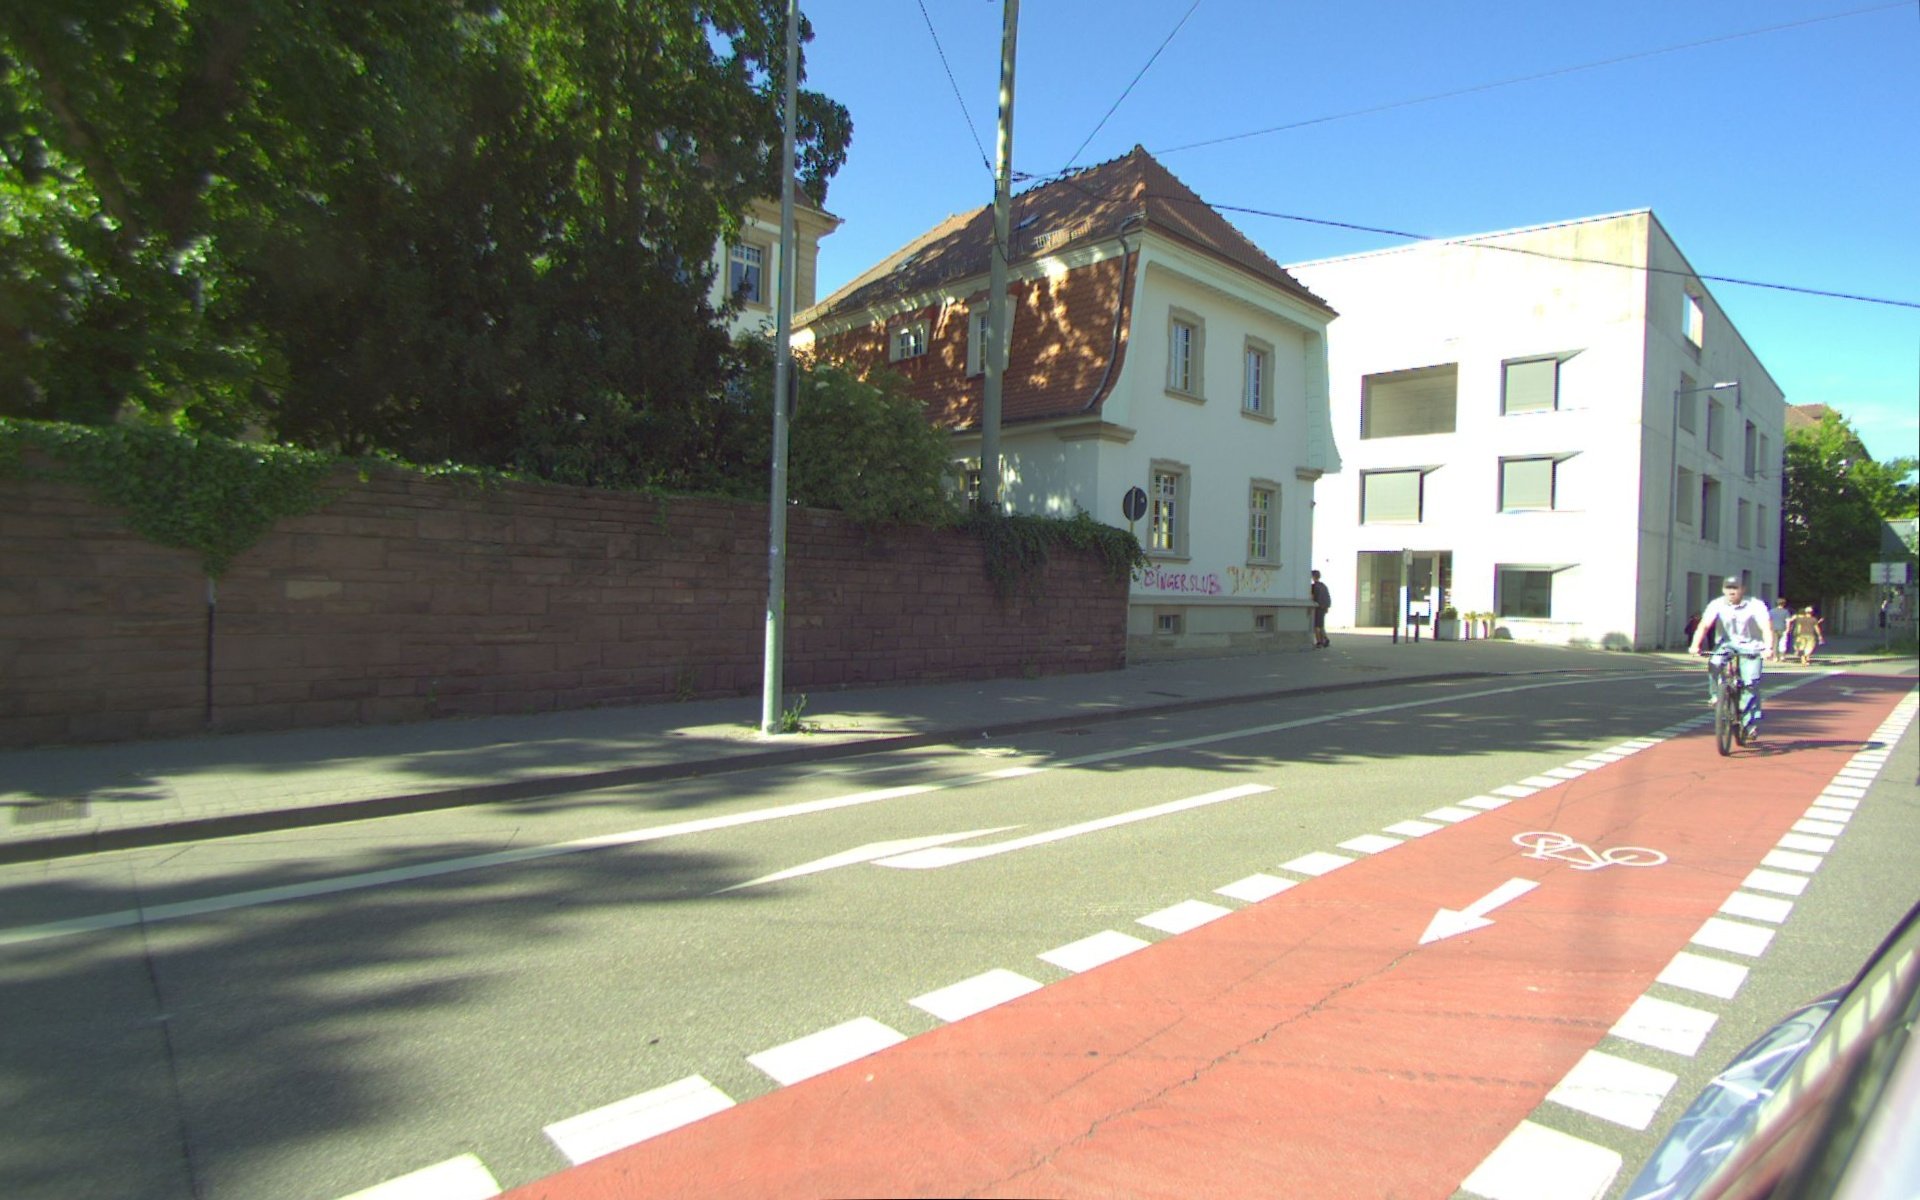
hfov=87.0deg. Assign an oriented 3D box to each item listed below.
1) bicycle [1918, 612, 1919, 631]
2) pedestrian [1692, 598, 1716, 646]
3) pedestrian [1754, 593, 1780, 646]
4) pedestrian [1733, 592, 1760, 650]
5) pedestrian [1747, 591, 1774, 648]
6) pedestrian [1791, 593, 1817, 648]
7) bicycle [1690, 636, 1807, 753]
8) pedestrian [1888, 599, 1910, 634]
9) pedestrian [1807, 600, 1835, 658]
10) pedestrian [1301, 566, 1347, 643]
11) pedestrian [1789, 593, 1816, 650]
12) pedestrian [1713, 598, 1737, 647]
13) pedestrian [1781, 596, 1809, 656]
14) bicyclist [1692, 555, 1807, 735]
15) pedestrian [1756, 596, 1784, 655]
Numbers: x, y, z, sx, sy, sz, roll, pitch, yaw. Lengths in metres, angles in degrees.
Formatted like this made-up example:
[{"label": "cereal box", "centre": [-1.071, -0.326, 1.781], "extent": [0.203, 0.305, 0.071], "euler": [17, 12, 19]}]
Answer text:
[{"label": "bicycle", "centre": [90.851, 2.036, 95.259], "extent": [2.134, 1.725, 0.829], "euler": [0, 0, -42]}, {"label": "pedestrian", "centre": [25.221, 0.742, 34.295], "extent": [0.511, 1.586, 0.533], "euler": [1, 1, -44]}, {"label": "pedestrian", "centre": [27.998, 0.674, 35.112], "extent": [0.536, 1.828, 0.586], "euler": [1, 1, -44]}, {"label": "pedestrian", "centre": [25.267, 0.659, 32.522], "extent": [0.536, 1.828, 0.586], "euler": [1, 1, -44]}, {"label": "pedestrian", "centre": [26.451, 0.631, 33.448], "extent": [0.573, 1.828, 0.586], "euler": [1, 1, -44]}, {"label": "pedestrian", "centre": [28.680, 0.683, 34.384], "extent": [0.536, 1.828, 0.586], "euler": [1, 1, -44]}, {"label": "bicycle", "centre": [8.348, 0.953, 10.689], "extent": [1.797, 1.091, 0.612], "euler": [1, 0, -40]}, {"label": "pedestrian", "centre": [47.585, 0.839, 51.272], "extent": [0.915, 1.760, 0.678], "euler": [1, 1, -42]}, {"label": "pedestrian", "centre": [26.466, 0.871, 31.109], "extent": [0.511, 1.749, 0.586], "euler": [1, 1, -44]}, {"label": "pedestrian", "centre": [8.965, 0.107, 24.927], "extent": [0.720, 1.856, 0.754], "euler": [1, 1, -42]}, {"label": "pedestrian", "centre": [27.695, 0.702, 33.282], "extent": [0.573, 1.828, 0.586], "euler": [1, 1, -44]}, {"label": "pedestrian", "centre": [25.565, 0.748, 33.804], "extent": [0.511, 1.586, 0.533], "euler": [1, 1, -44]}, {"label": "pedestrian", "centre": [25.950, 0.801, 31.466], "extent": [0.511, 1.828, 0.586], "euler": [1, 1, -44]}, {"label": "bicyclist", "centre": [8.344, 0.446, 10.697], "extent": [0.996, 1.798, 0.751], "euler": [1, 0, -40]}, {"label": "pedestrian", "centre": [25.634, 0.792, 32.017], "extent": [0.536, 1.828, 0.586], "euler": [1, 1, -44]}]
